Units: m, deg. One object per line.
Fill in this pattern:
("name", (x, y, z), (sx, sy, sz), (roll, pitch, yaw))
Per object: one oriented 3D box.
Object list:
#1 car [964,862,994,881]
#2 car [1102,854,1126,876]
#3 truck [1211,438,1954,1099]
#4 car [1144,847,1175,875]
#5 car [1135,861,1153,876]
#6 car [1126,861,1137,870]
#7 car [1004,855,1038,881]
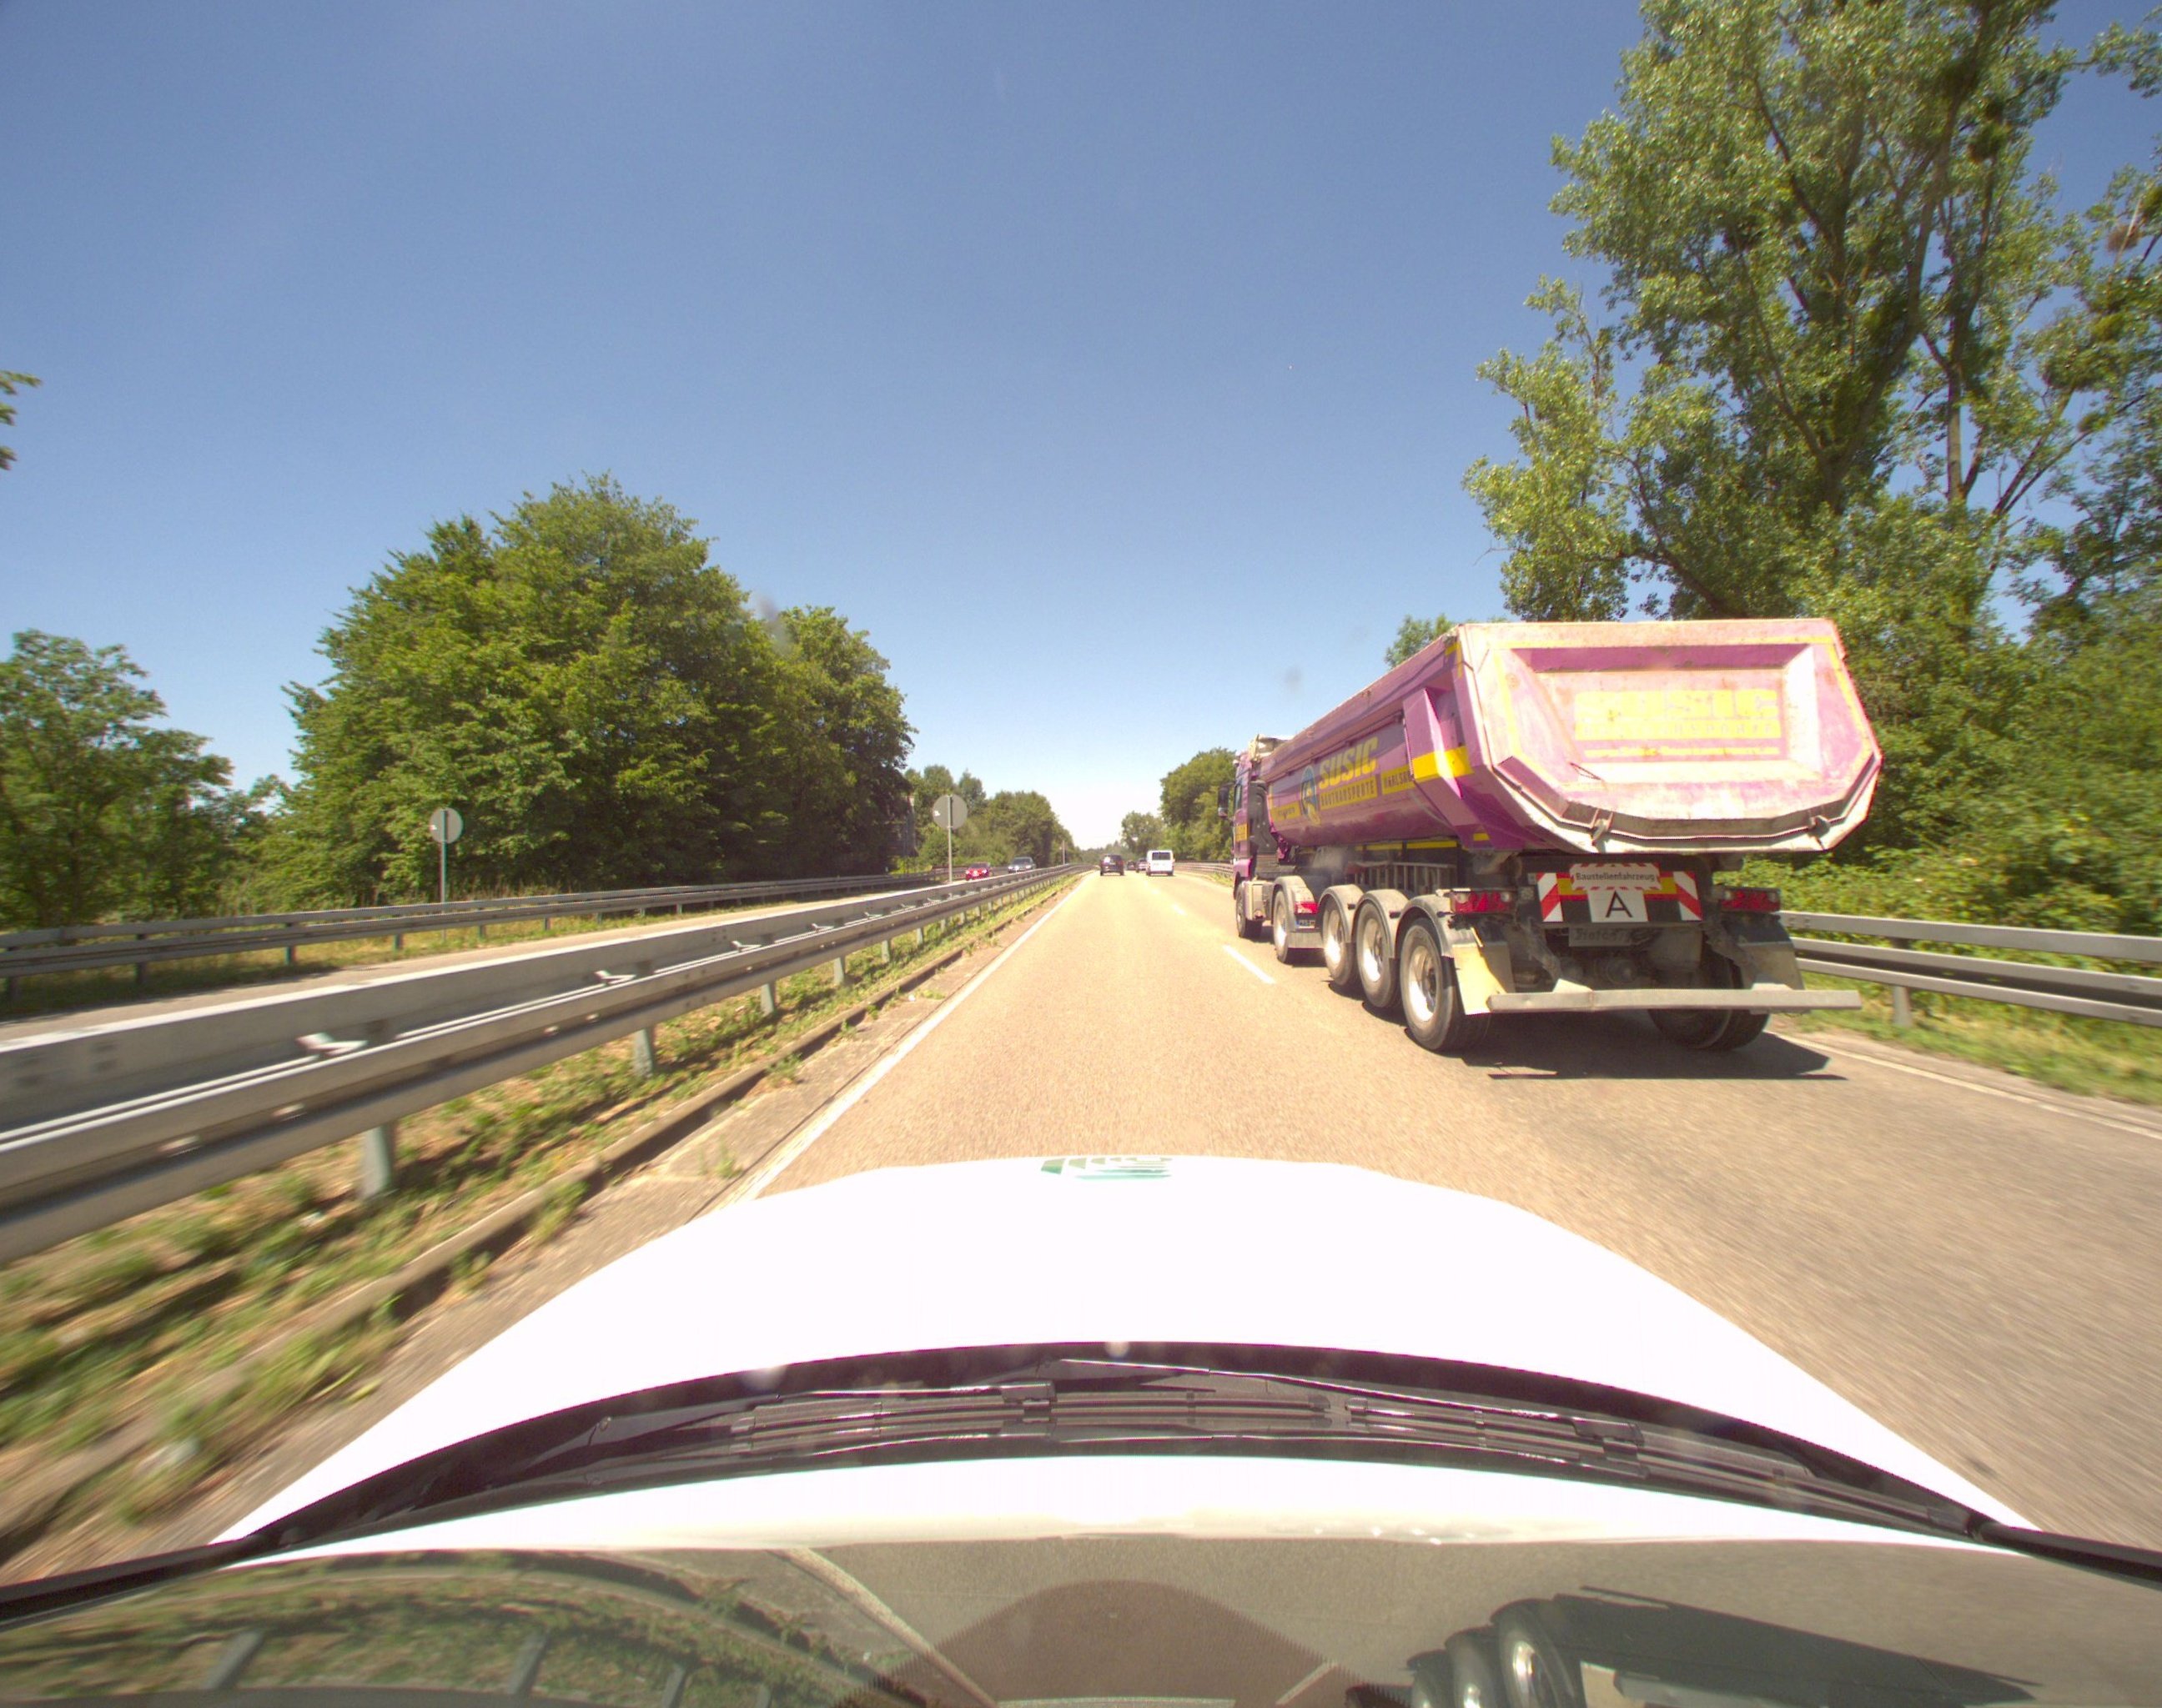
("car", (-8.061, 1.371, 64.727), (1.790, 1.391, 4.001), (-2, 0, 1))
("car", (2.665, 0.896, 66.112), (1.851, 1.671, 4.000), (0, -2, 1))
("truck", (3.960, -0.479, 11.035), (2.710, 3.930, 12.373), (0, 0, 1))
("car", (6.142, 0.554, 63.921), (1.987, 2.077, 4.000), (-2, 0, 0))
("car", (6.567, 1.483, 85.266), (1.598, 1.420, 3.521), (-2, 0, 0))
("car", (8.513, 1.983, 137.616), (1.598, 1.420, 3.521), (-2, 0, 0))
("car", (-4.517, 1.050, 62.111), (1.985, 1.794, 4.751), (-2, 0, 3))
